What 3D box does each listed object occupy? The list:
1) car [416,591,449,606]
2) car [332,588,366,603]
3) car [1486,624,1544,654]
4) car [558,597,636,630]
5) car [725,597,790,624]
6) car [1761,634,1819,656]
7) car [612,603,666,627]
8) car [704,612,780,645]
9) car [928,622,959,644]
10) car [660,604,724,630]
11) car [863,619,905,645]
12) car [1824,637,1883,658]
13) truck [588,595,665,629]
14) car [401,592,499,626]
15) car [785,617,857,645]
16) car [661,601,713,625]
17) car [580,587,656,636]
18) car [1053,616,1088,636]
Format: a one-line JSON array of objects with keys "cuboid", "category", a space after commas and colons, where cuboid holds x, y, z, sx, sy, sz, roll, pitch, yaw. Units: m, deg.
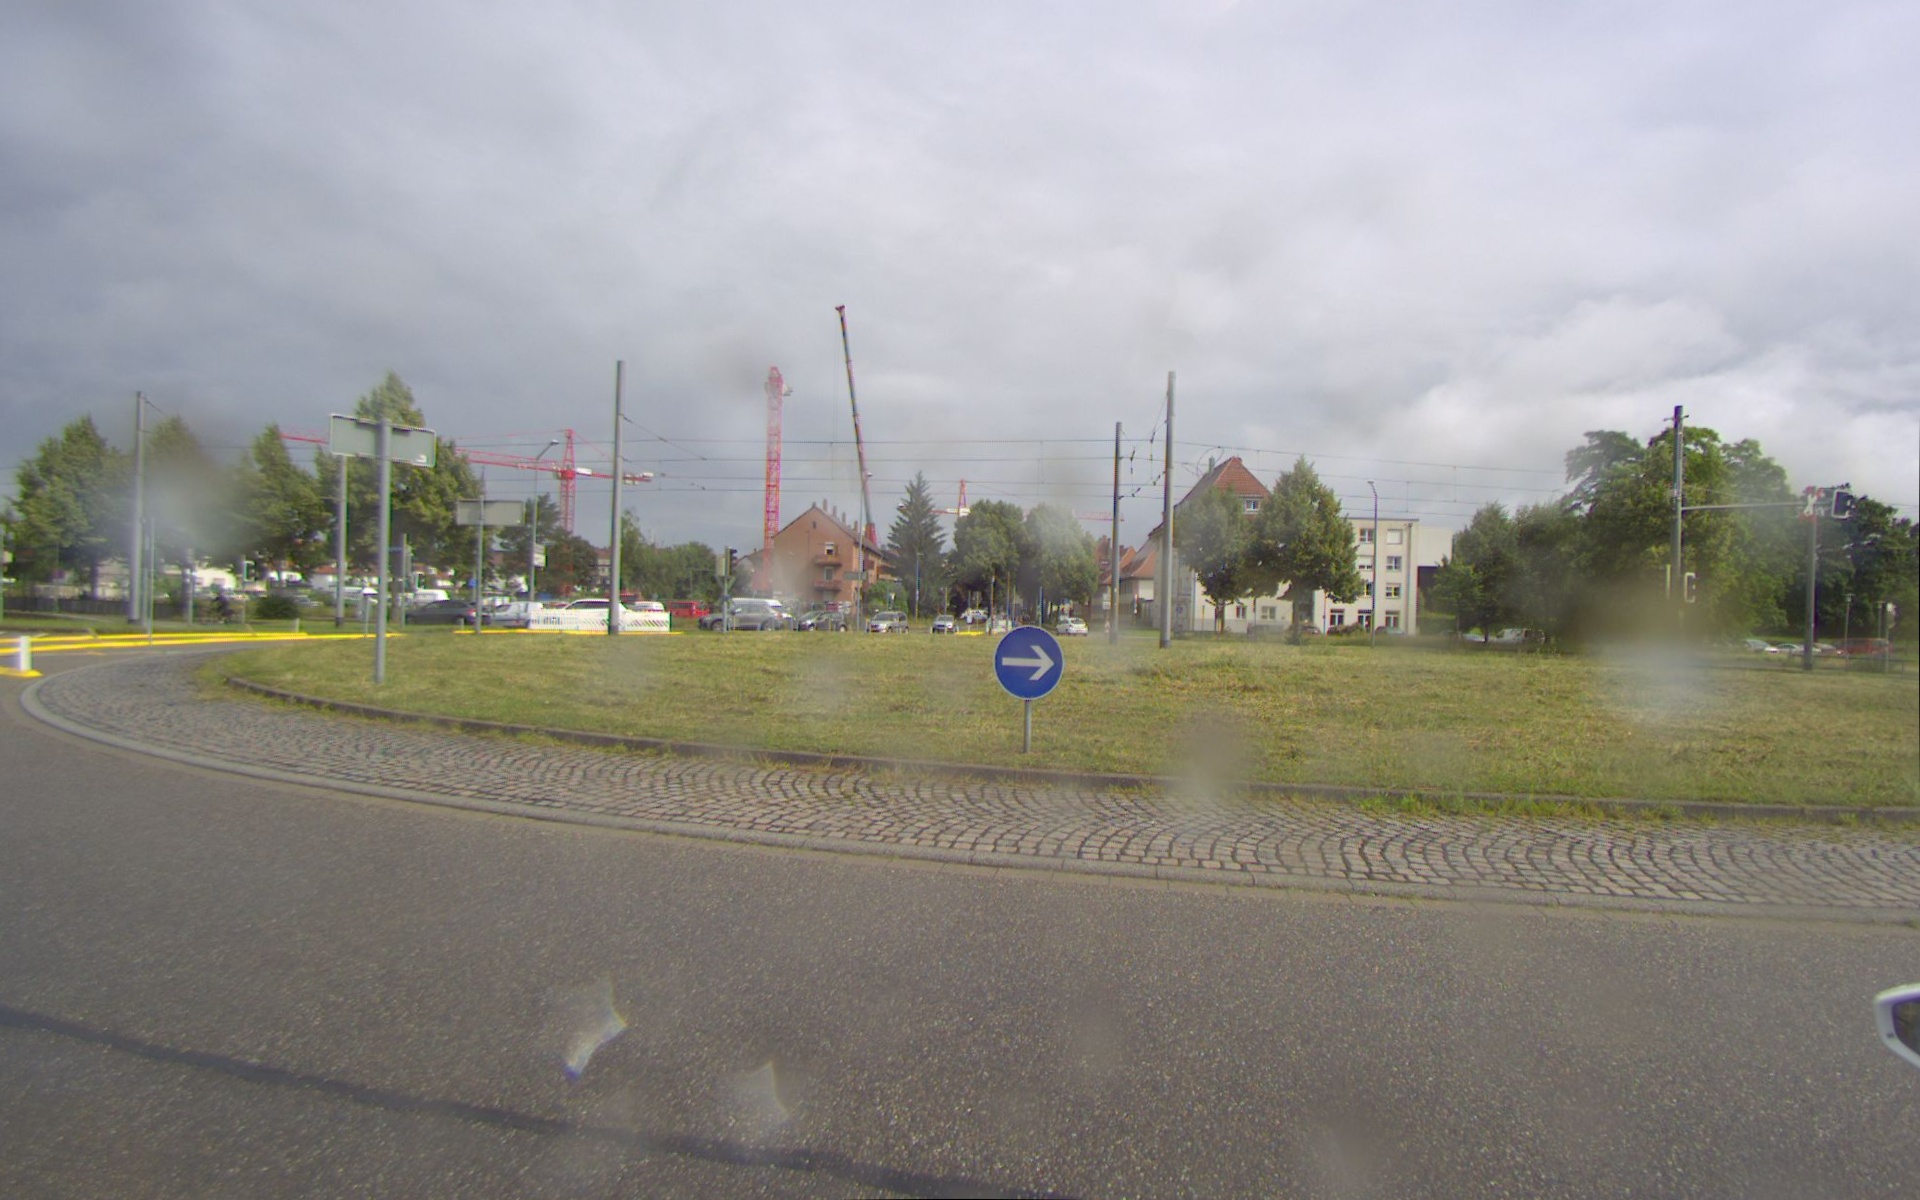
[{"cuboid": [-63.316, -0.134, 120.654, 3.529, 1.745, 1.500, 1, 0, 19], "category": "car"}, {"cuboid": [-69.863, -0.505, 114.854, 3.432, 1.581, 1.550, 1, 0, 21], "category": "car"}, {"cuboid": [43.660, 3.047, 79.193, 2.070, 2.085, 5.163, 1, 0, 5], "category": "car"}, {"cuboid": [-18.233, 0.650, 50.573, 3.437, 1.530, 1.497, 2, 0, -10], "category": "car"}, {"cuboid": [-18.534, 0.958, 91.795, 6.162, 2.112, 2.037, 4, 0, 36], "category": "car"}, {"cuboid": [64.273, 3.474, 77.860, 1.612, 1.481, 3.612, 2, -1, 4], "category": "car"}, {"cuboid": [-27.269, 1.250, 85.343, 3.922, 1.722, 1.858, 4, 0, 21], "category": "car"}, {"cuboid": [-11.385, 1.477, 52.543, 3.626, 1.581, 1.565, 2, 0, -24], "category": "car"}, {"cuboid": [-1.288, 2.632, 80.189, 1.568, 1.581, 3.552, 2, 0, 14], "category": "car"}, {"cuboid": [-18.857, 1.228, 70.681, 3.958, 1.706, 1.981, 2, 0, -34], "category": "car"}, {"cuboid": [-4.865, 2.052, 64.876, 1.519, 1.581, 3.501, 2, 0, 16], "category": "car"}, {"cuboid": [69.234, 3.654, 77.894, 1.617, 1.530, 3.652, 1, -1, 7], "category": "car"}, {"cuboid": [-26.601, 0.958, 80.078, 5.991, 2.241, 2.393, 4, 0, 30], "category": "truck"}, {"cuboid": [-25.304, 0.448, 49.941, 3.923, 1.537, 1.802, 1, 0, -4], "category": "car"}, {"cuboid": [-8.255, 1.849, 59.881, 3.972, 1.606, 1.775, 2, 0, -43], "category": "car"}, {"cuboid": [-23.485, 1.106, 86.360, 3.924, 1.722, 1.928, 4, 0, 25], "category": "car"}, {"cuboid": [-19.240, 0.645, 56.643, 3.939, 2.601, 1.790, 2, -1, -20], "category": "car"}, {"cuboid": [8.905, 2.062, 80.994, 1.526, 1.473, 3.486, 1, 0, -18], "category": "car"}]
